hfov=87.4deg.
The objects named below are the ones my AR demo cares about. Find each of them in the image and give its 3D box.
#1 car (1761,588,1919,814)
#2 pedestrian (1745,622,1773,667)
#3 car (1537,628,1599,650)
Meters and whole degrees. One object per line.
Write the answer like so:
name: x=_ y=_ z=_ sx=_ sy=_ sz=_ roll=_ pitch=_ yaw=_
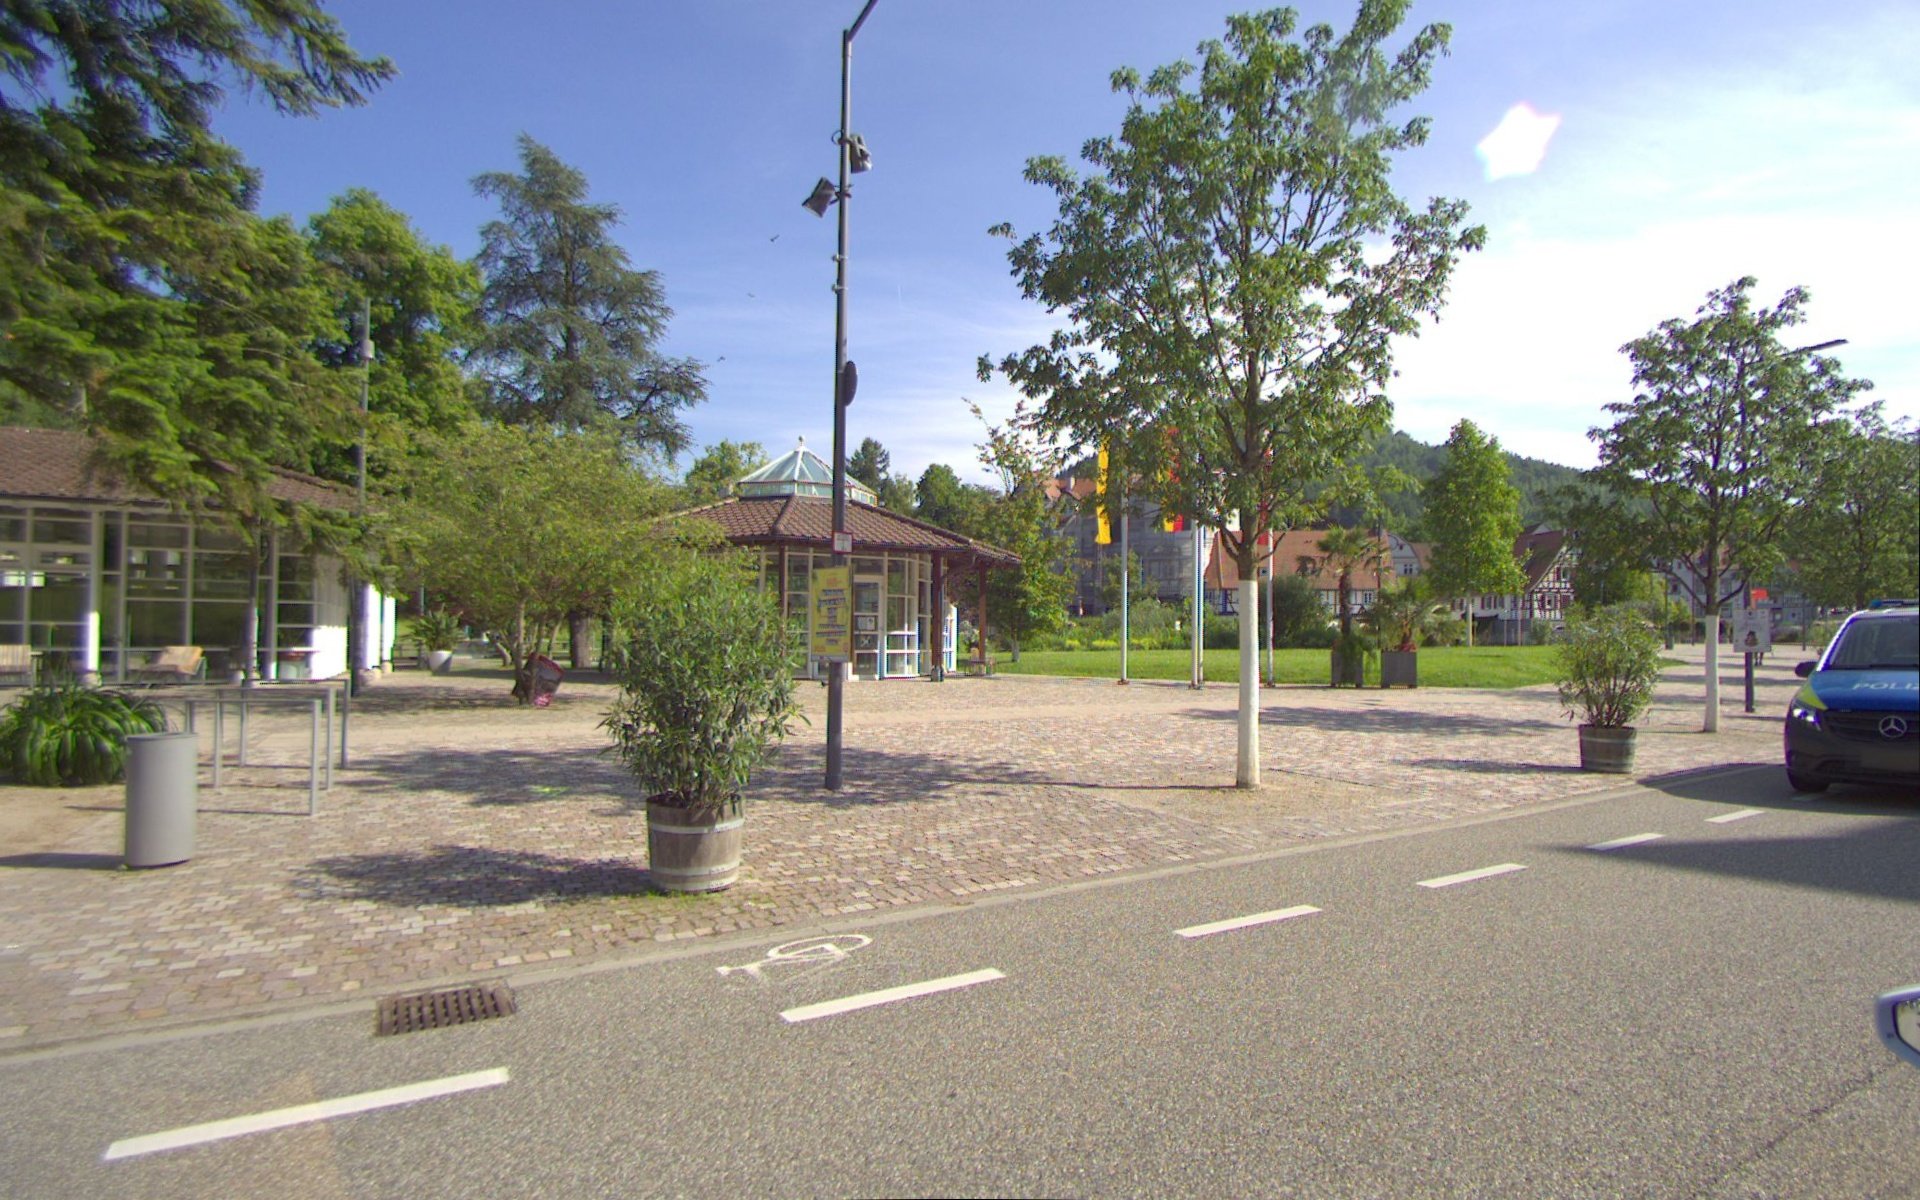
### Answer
car: x=10.358 y=0.971 z=10.382 sx=4.966 sy=1.978 sz=1.843 roll=2 pitch=-4 yaw=-34
pedestrian: x=33.230 y=1.829 z=41.778 sx=0.855 sy=1.839 sz=0.689 roll=0 pitch=-1 yaw=35
car: x=47.585 y=3.064 z=78.722 sx=4.108 sy=1.637 sz=1.687 roll=0 pitch=-1 yaw=30
